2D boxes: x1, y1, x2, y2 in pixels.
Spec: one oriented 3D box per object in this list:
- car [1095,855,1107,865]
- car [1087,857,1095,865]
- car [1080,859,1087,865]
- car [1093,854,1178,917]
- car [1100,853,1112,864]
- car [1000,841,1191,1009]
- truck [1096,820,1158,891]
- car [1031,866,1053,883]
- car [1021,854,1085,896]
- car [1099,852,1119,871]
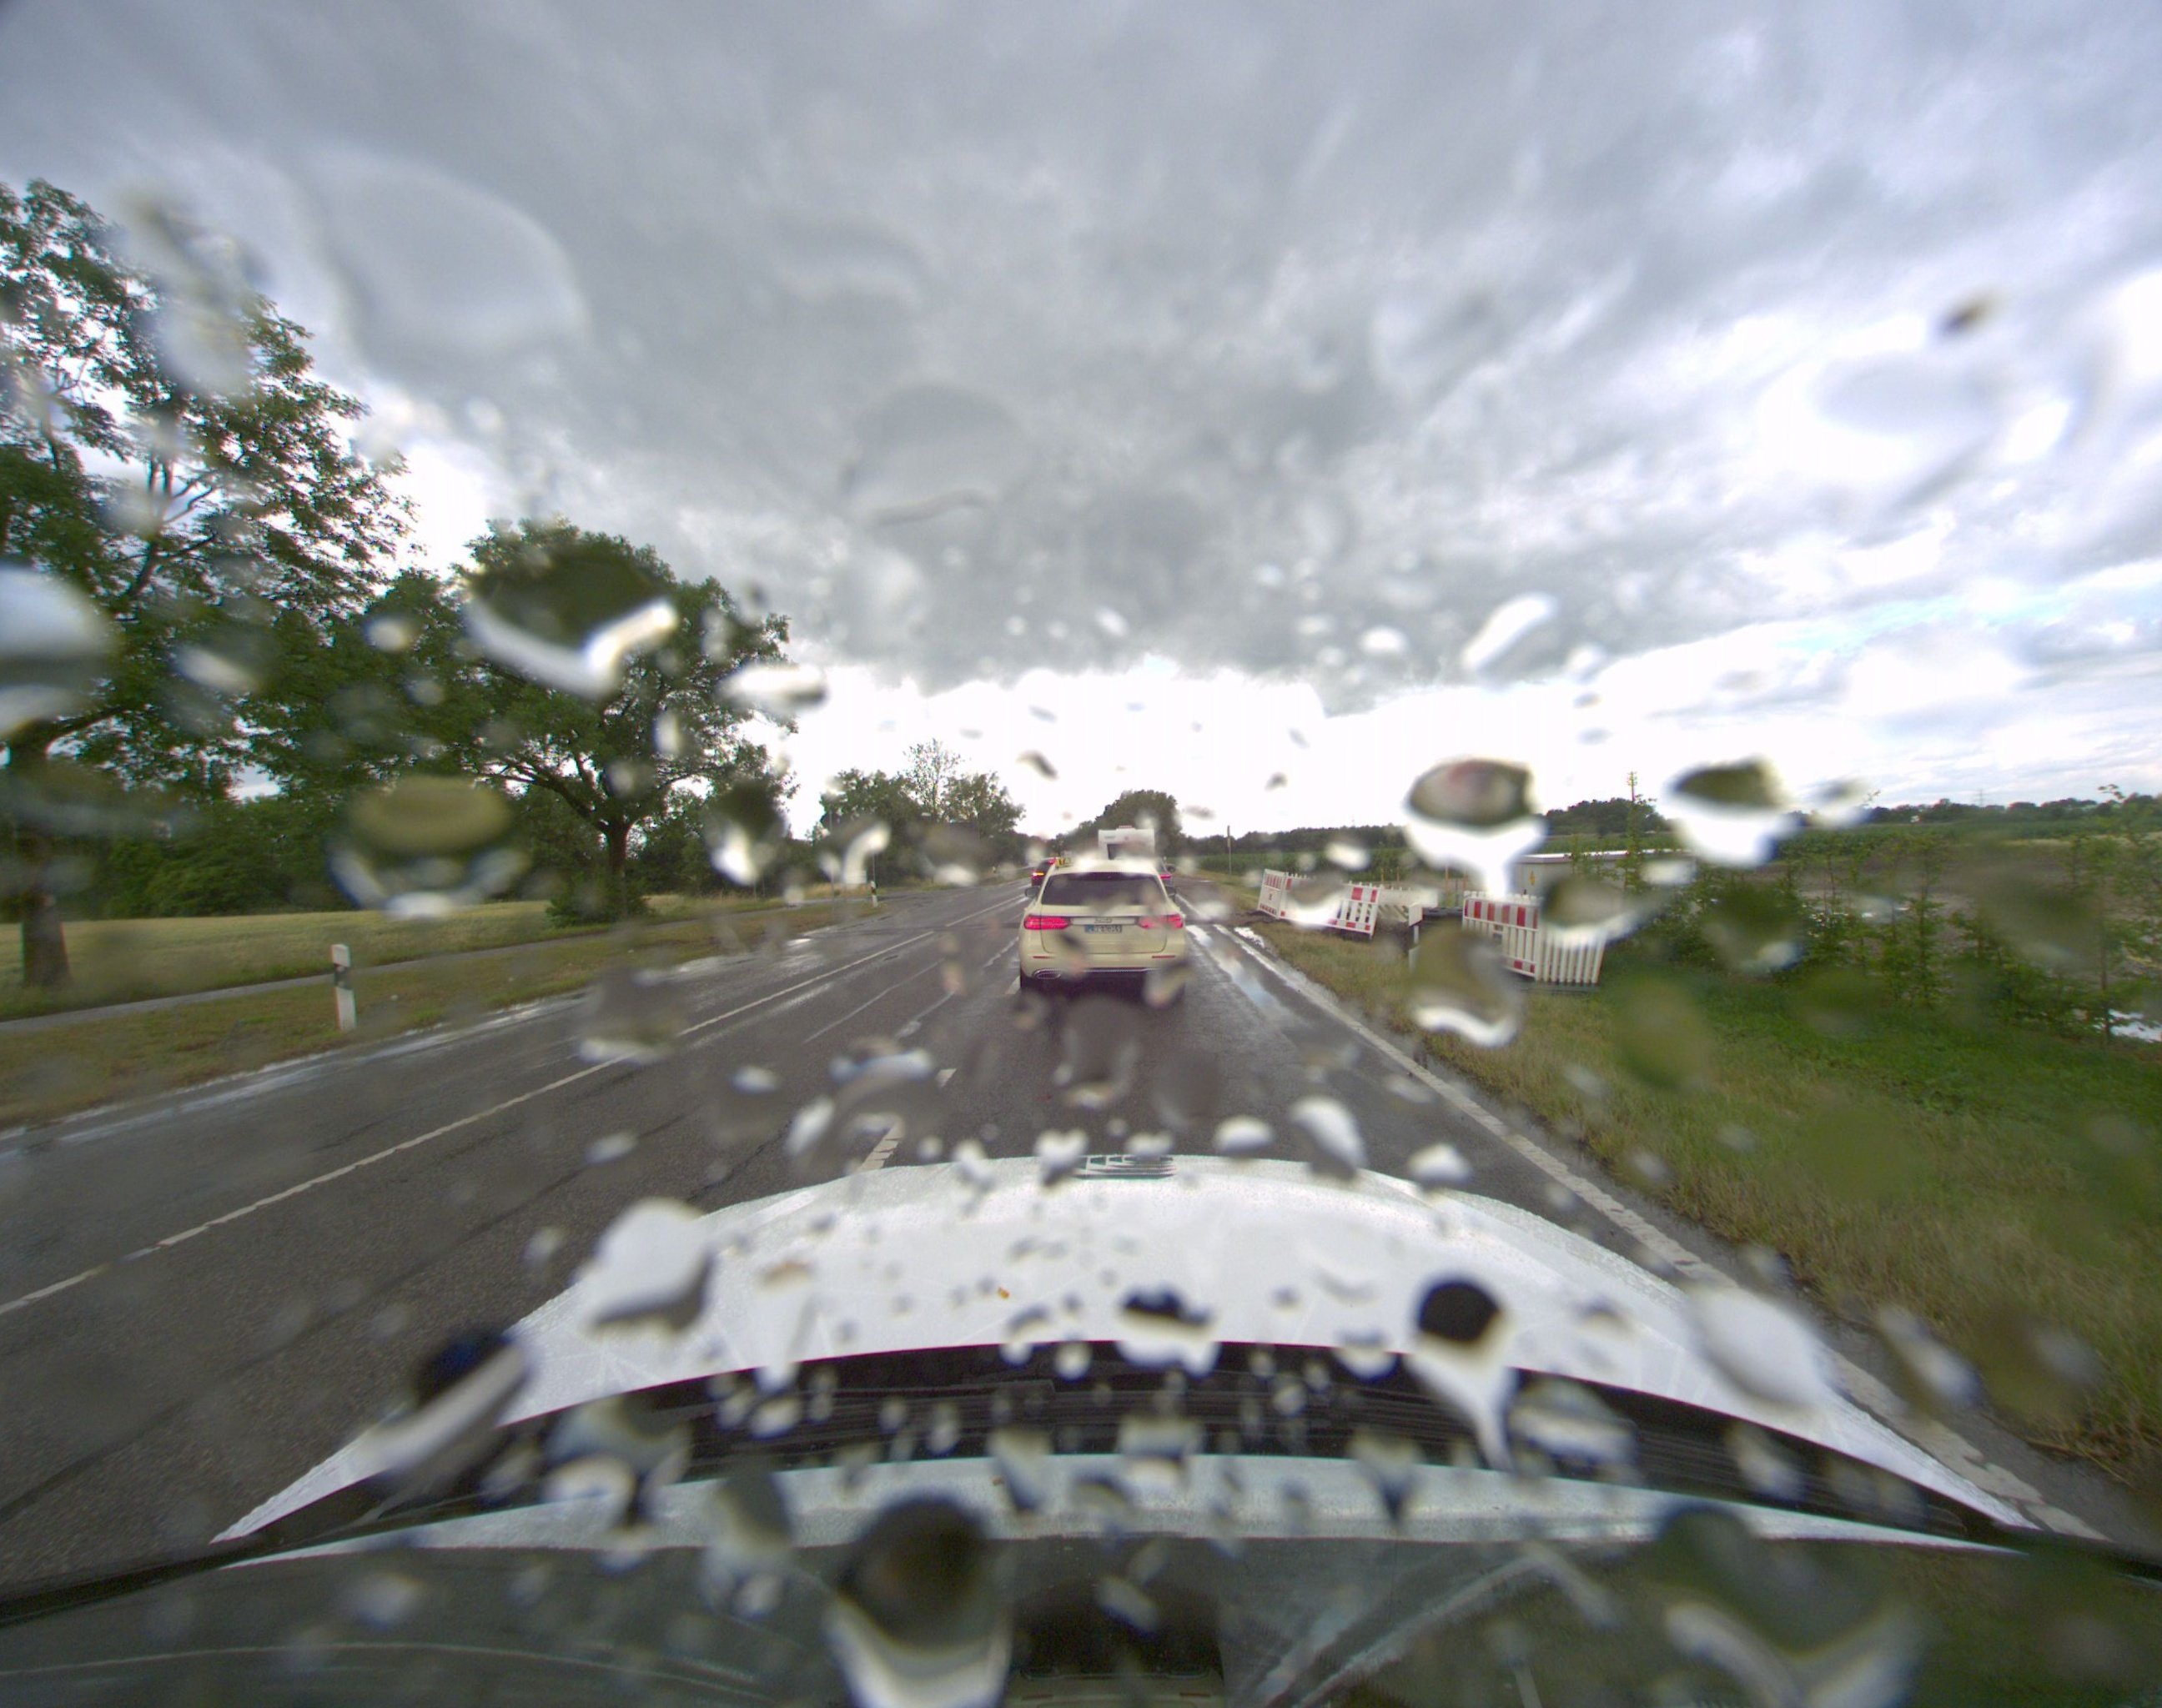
[{"bbox_3d":[3.767,1.116,155.359,1.988,1.772,3.997,-2,0,-2],"label":"car"},{"bbox_3d":[2.456,1.888,209.947,1.890,1.895,3.841,-2,0,-1],"label":"car"},{"bbox_3d":[0.761,2.477,252.838,1.888,1.839,3.883,-2,0,2],"label":"car"},{"bbox_3d":[1.362,0.760,21.279,1.986,1.462,4.002,0,0,2],"label":"car"},{"bbox_3d":[3.995,0.708,129.783,1.784,1.777,3.722,-2,0,2],"label":"car"},{"bbox_3d":[0.213,0.706,9.957,1.835,1.618,4.002,-1,0,2],"label":"car"},{"bbox_3d":[1.972,0.080,36.097,2.354,2.729,7.318,-2,0,2],"label":"truck"},{"bbox_3d":[-3.643,1.965,77.563,1.713,1.404,4.045,-4,0,1],"label":"car"},{"bbox_3d":[-1.043,0.814,33.277,2.293,1.547,4.634,0,0,2],"label":"car"},{"bbox_3d":[2.947,0.799,85.153,1.908,1.841,3.797,-2,0,2],"label":"car"}]
